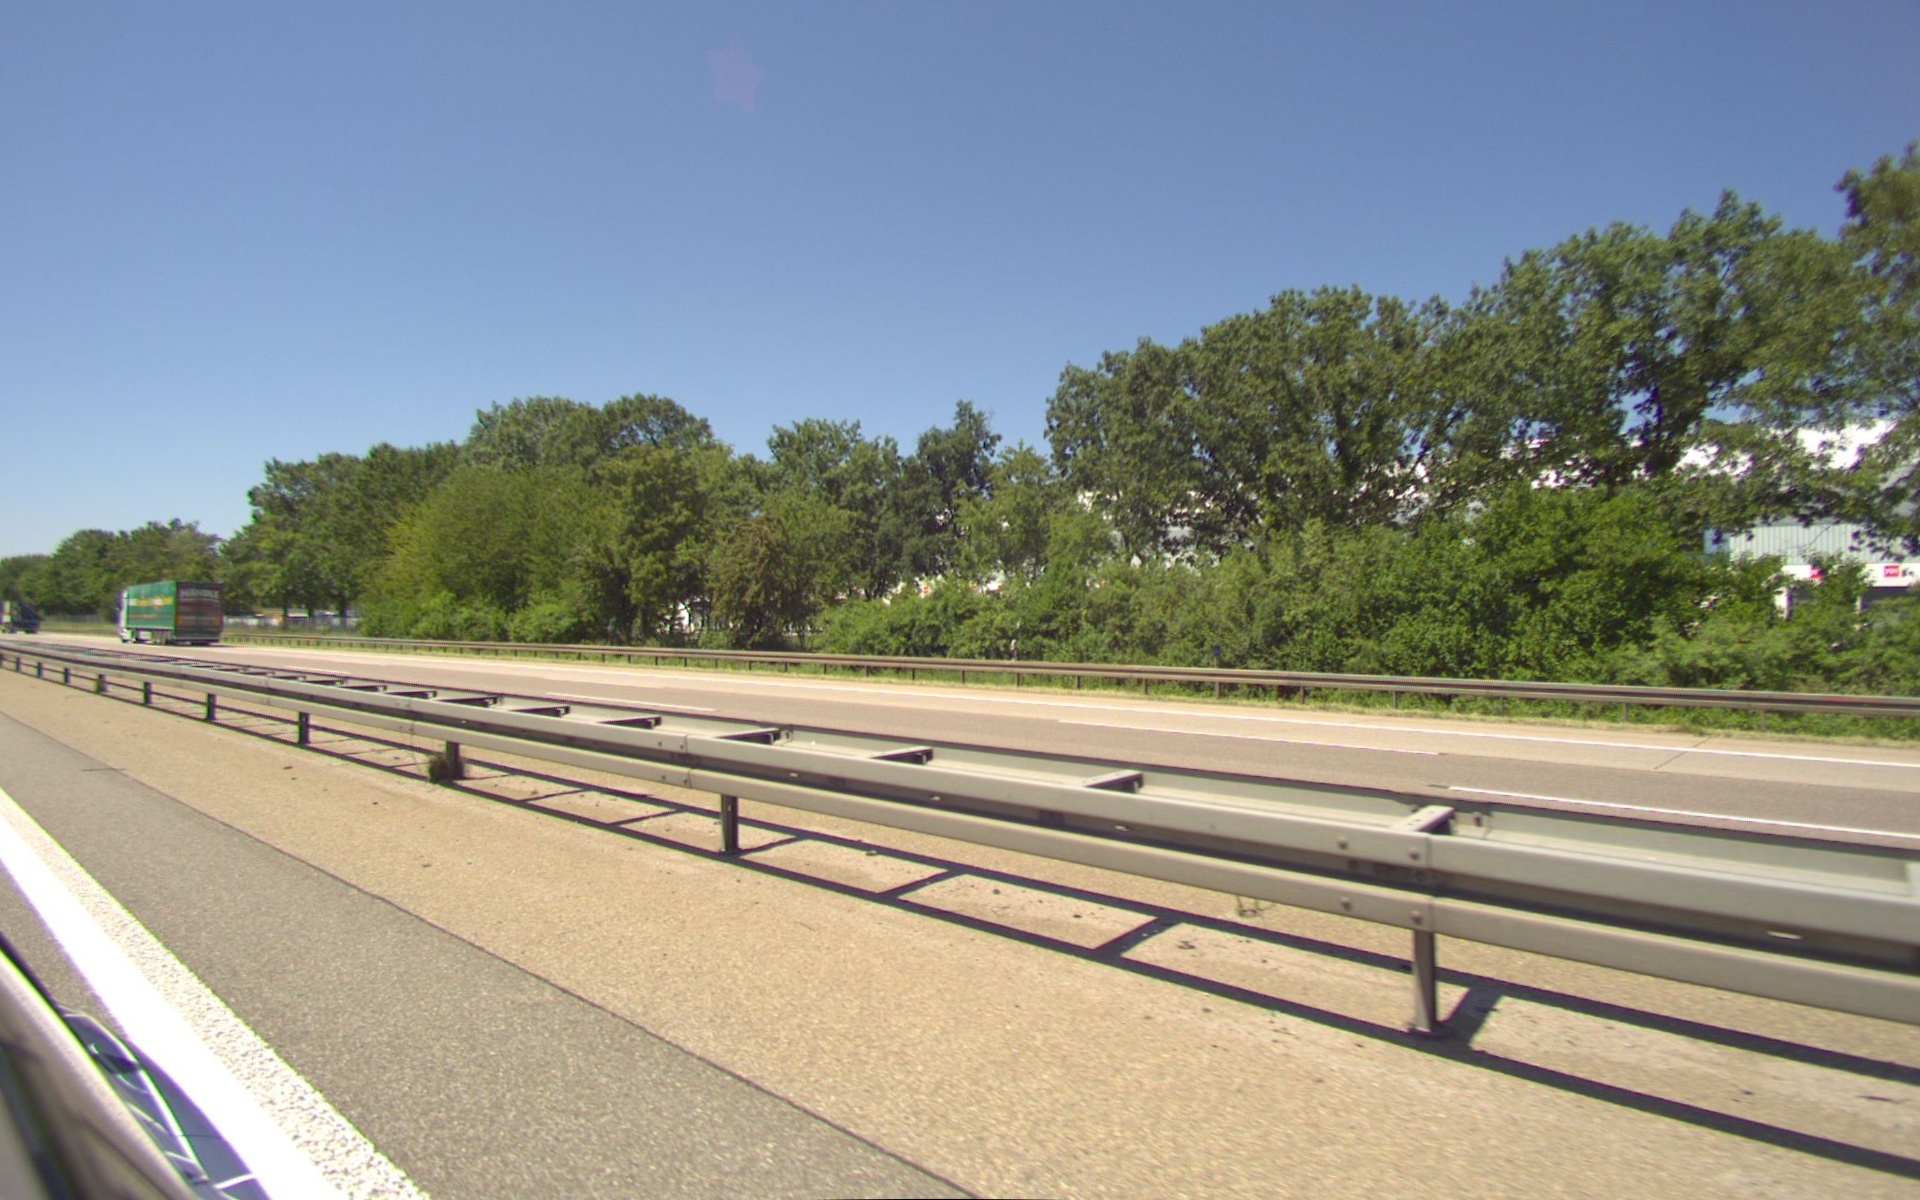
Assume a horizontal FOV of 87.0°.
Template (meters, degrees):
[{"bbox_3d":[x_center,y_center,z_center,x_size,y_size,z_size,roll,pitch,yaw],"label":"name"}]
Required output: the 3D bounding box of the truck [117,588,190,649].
[{"bbox_3d":[-56.840,1.311,71.276,6.330,4.075,2.846,-1,-4,42],"label":"truck"}]

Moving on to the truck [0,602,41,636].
[{"bbox_3d":[-109.015,2.222,116.939,9.596,3.820,2.973,-1,-2,41],"label":"truck"}]

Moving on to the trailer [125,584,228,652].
[{"bbox_3d":[-51.951,1.241,66.857,13.677,4.075,2.846,-1,-4,42],"label":"trailer"}]
